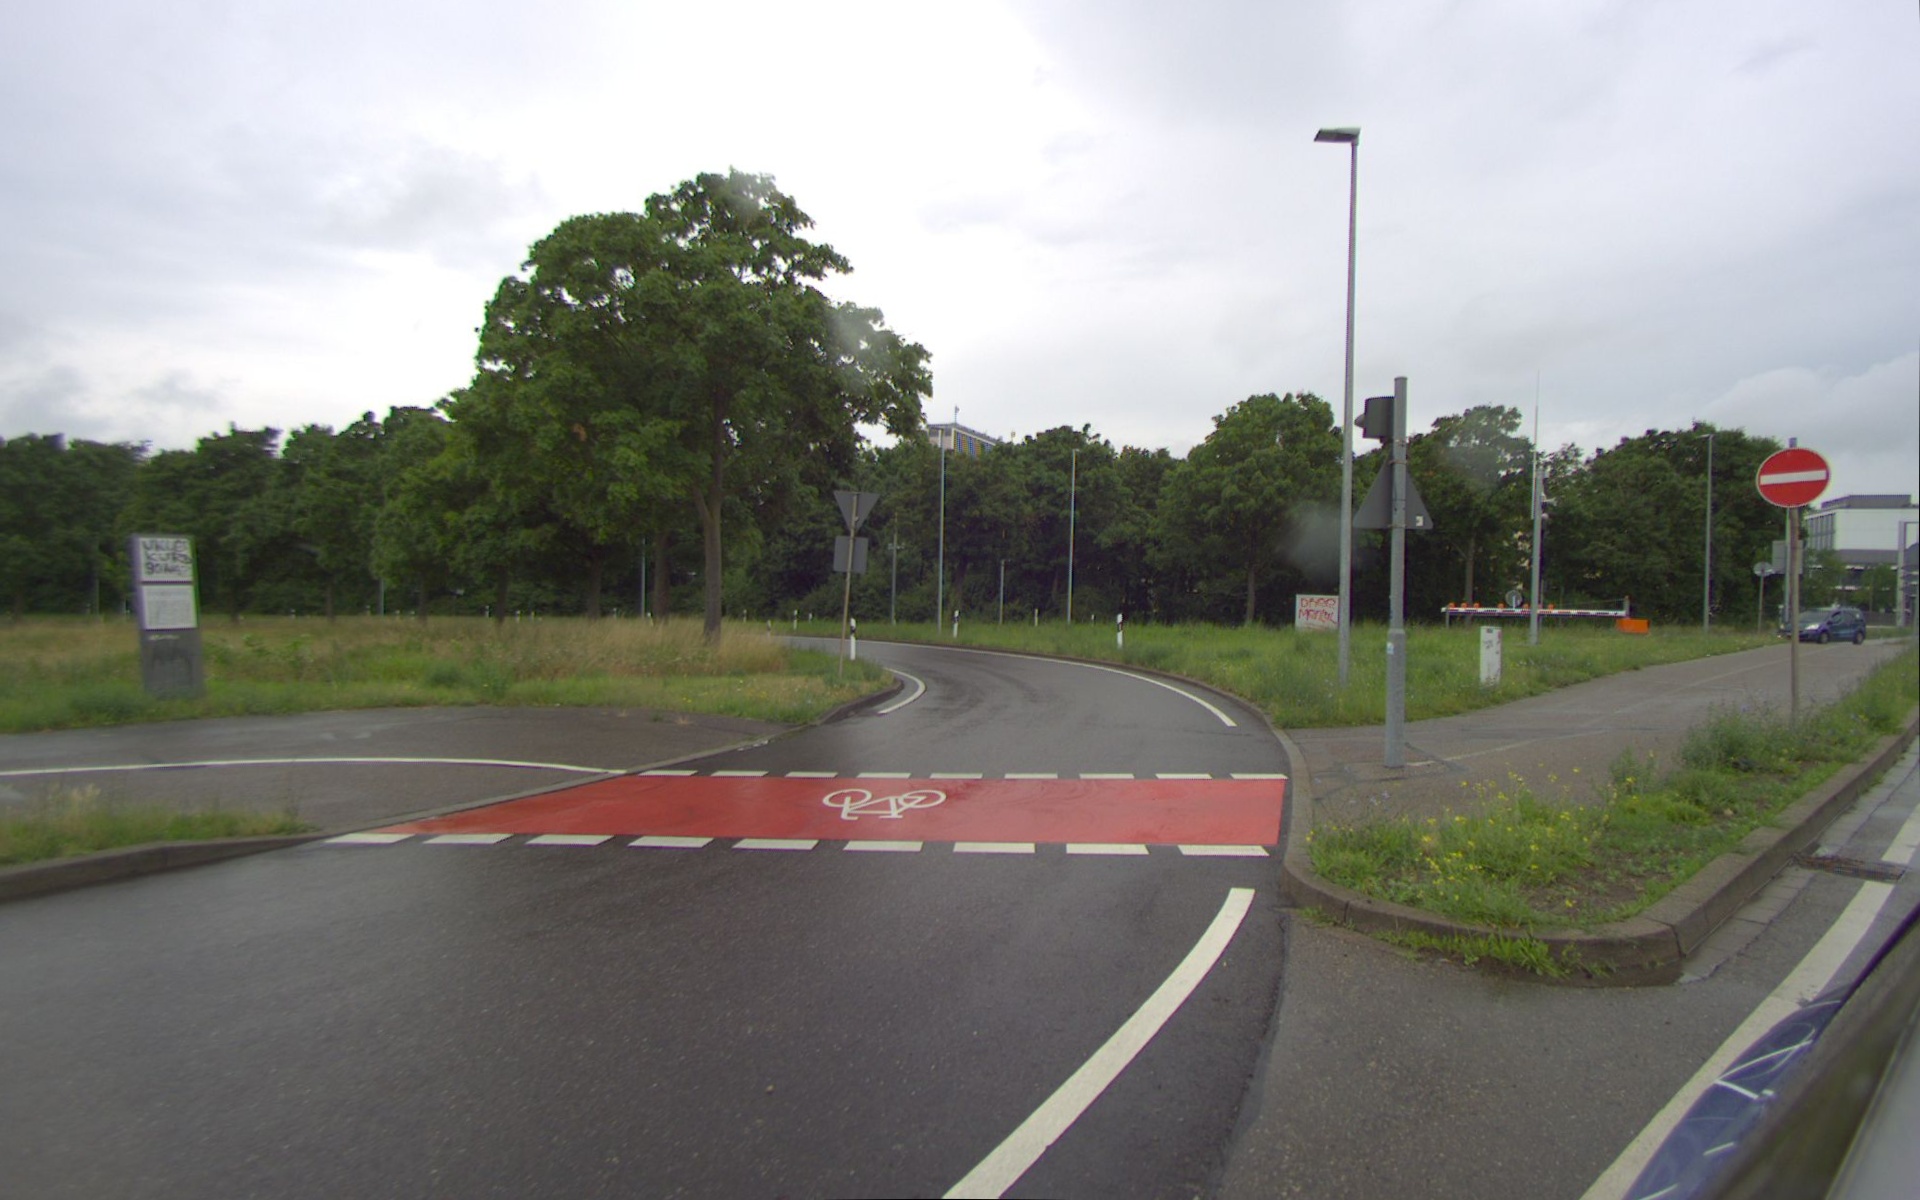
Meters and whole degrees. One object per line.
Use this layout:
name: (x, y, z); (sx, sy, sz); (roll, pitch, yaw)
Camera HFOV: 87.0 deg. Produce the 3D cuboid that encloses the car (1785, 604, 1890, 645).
car: (41.473, 1.131, 47.832); (4.717, 1.773, 1.855); (-1, 0, -24)
